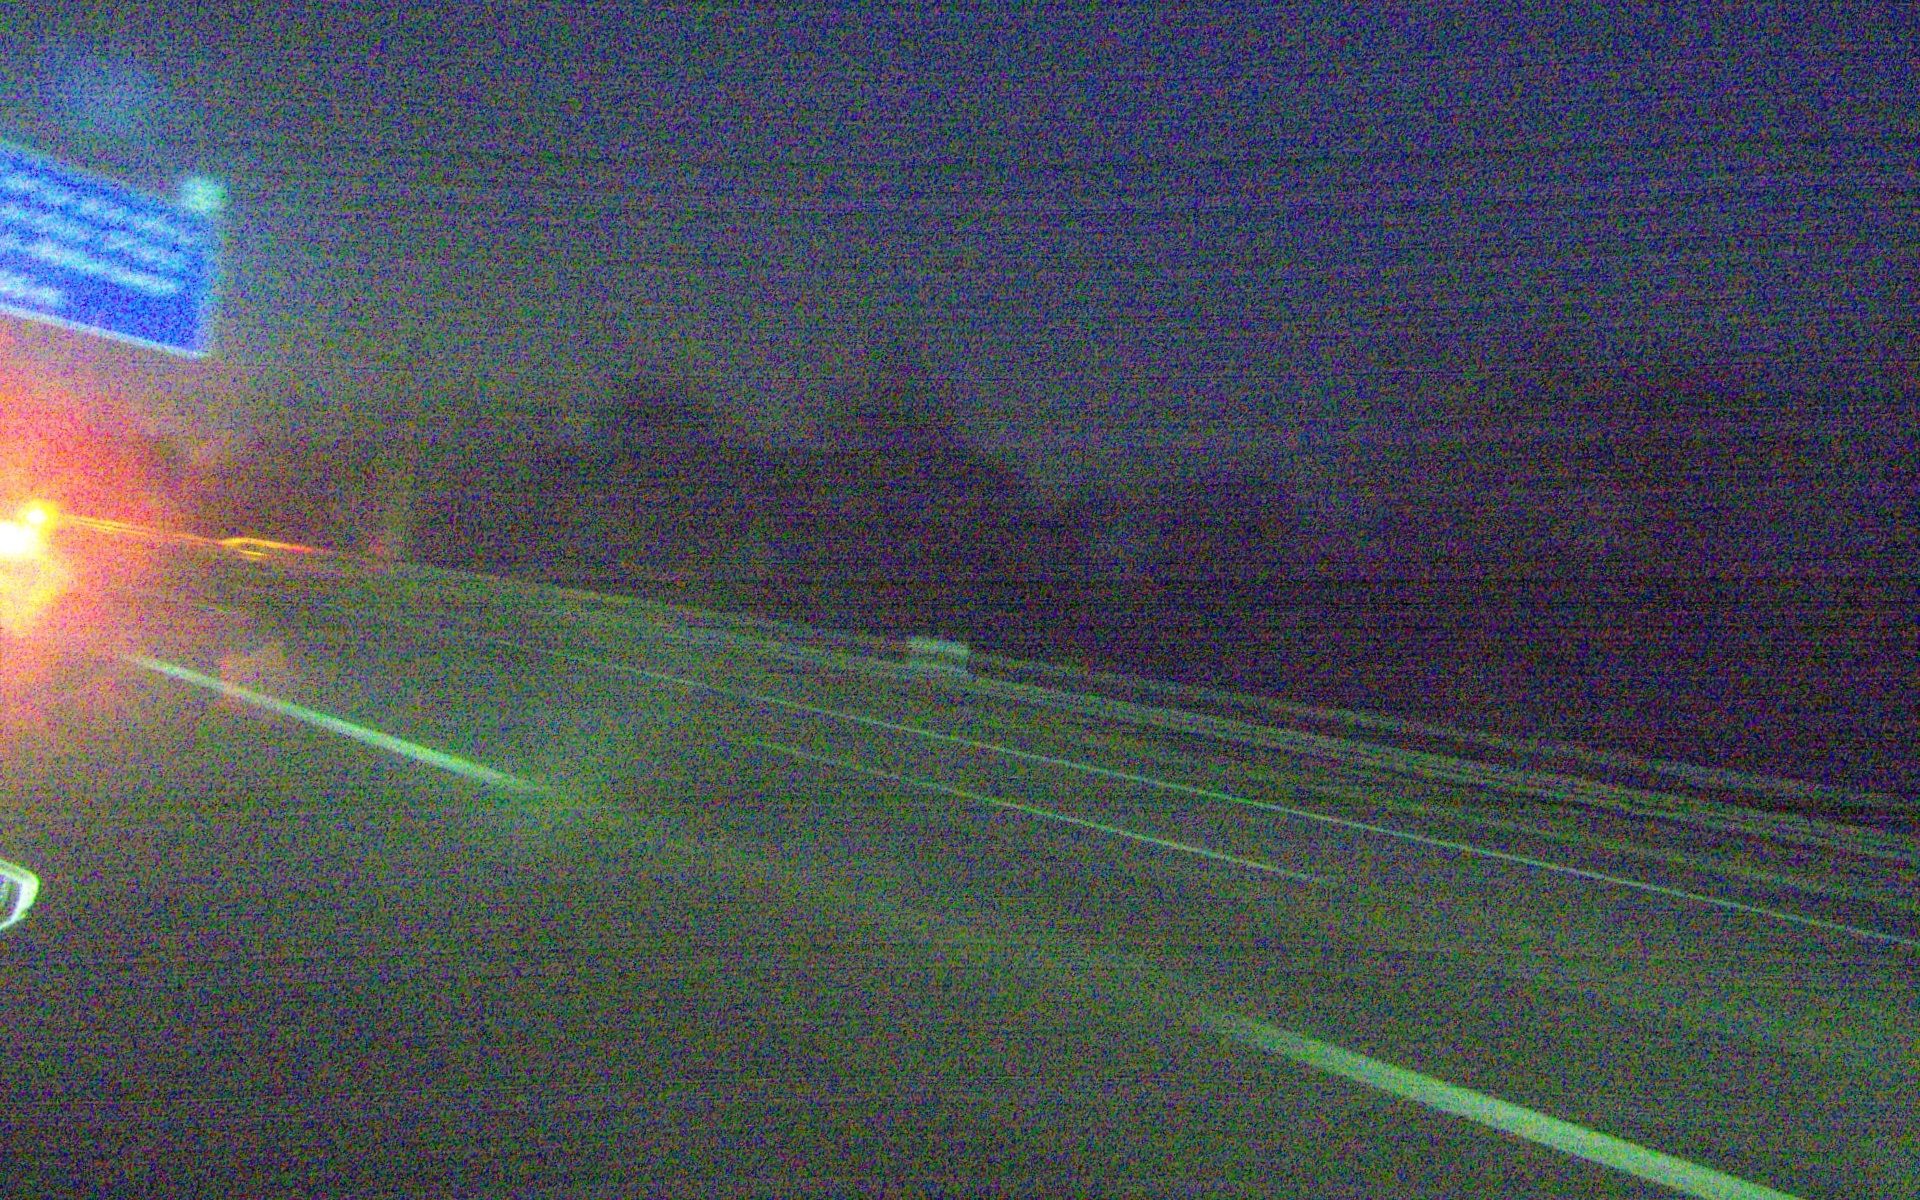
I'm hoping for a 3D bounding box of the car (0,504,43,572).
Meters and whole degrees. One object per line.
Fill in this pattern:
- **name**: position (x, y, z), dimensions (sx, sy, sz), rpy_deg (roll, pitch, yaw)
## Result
- **car**: position (-20.260, -1.420, 20.309), dimensions (3.015, 1.260, 1.585), rpy_deg (7, -1, 28)
